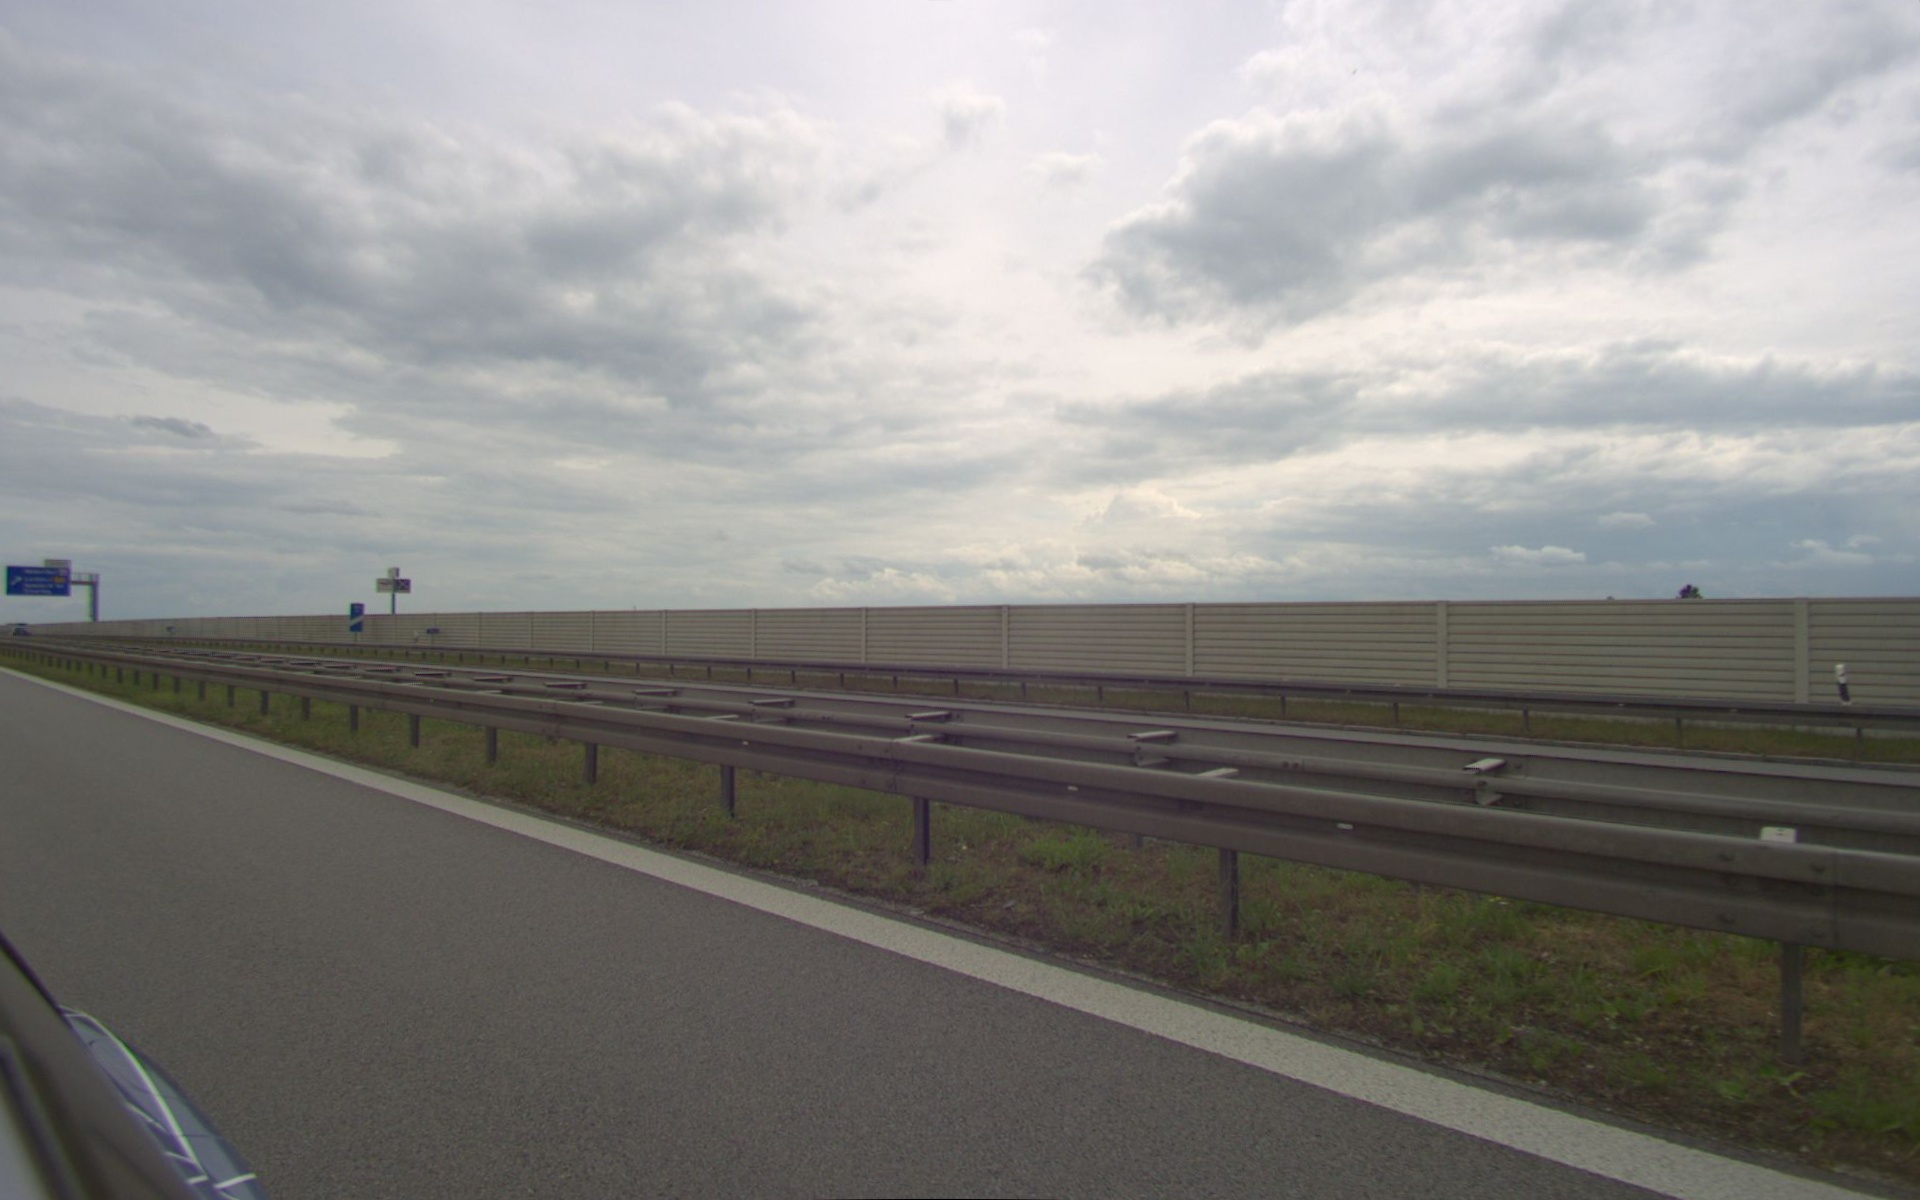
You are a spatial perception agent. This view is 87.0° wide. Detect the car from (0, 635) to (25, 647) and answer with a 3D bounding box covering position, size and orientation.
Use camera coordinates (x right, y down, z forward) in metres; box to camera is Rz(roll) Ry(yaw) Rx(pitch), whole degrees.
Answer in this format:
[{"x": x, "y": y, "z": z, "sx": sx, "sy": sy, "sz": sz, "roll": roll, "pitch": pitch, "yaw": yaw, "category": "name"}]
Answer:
[{"x": -108.352, "y": 4.683, "z": 115.655, "sx": 4.607, "sy": 1.339, "sz": 1.641, "roll": -2, "pitch": -6, "yaw": 42, "category": "car"}]
